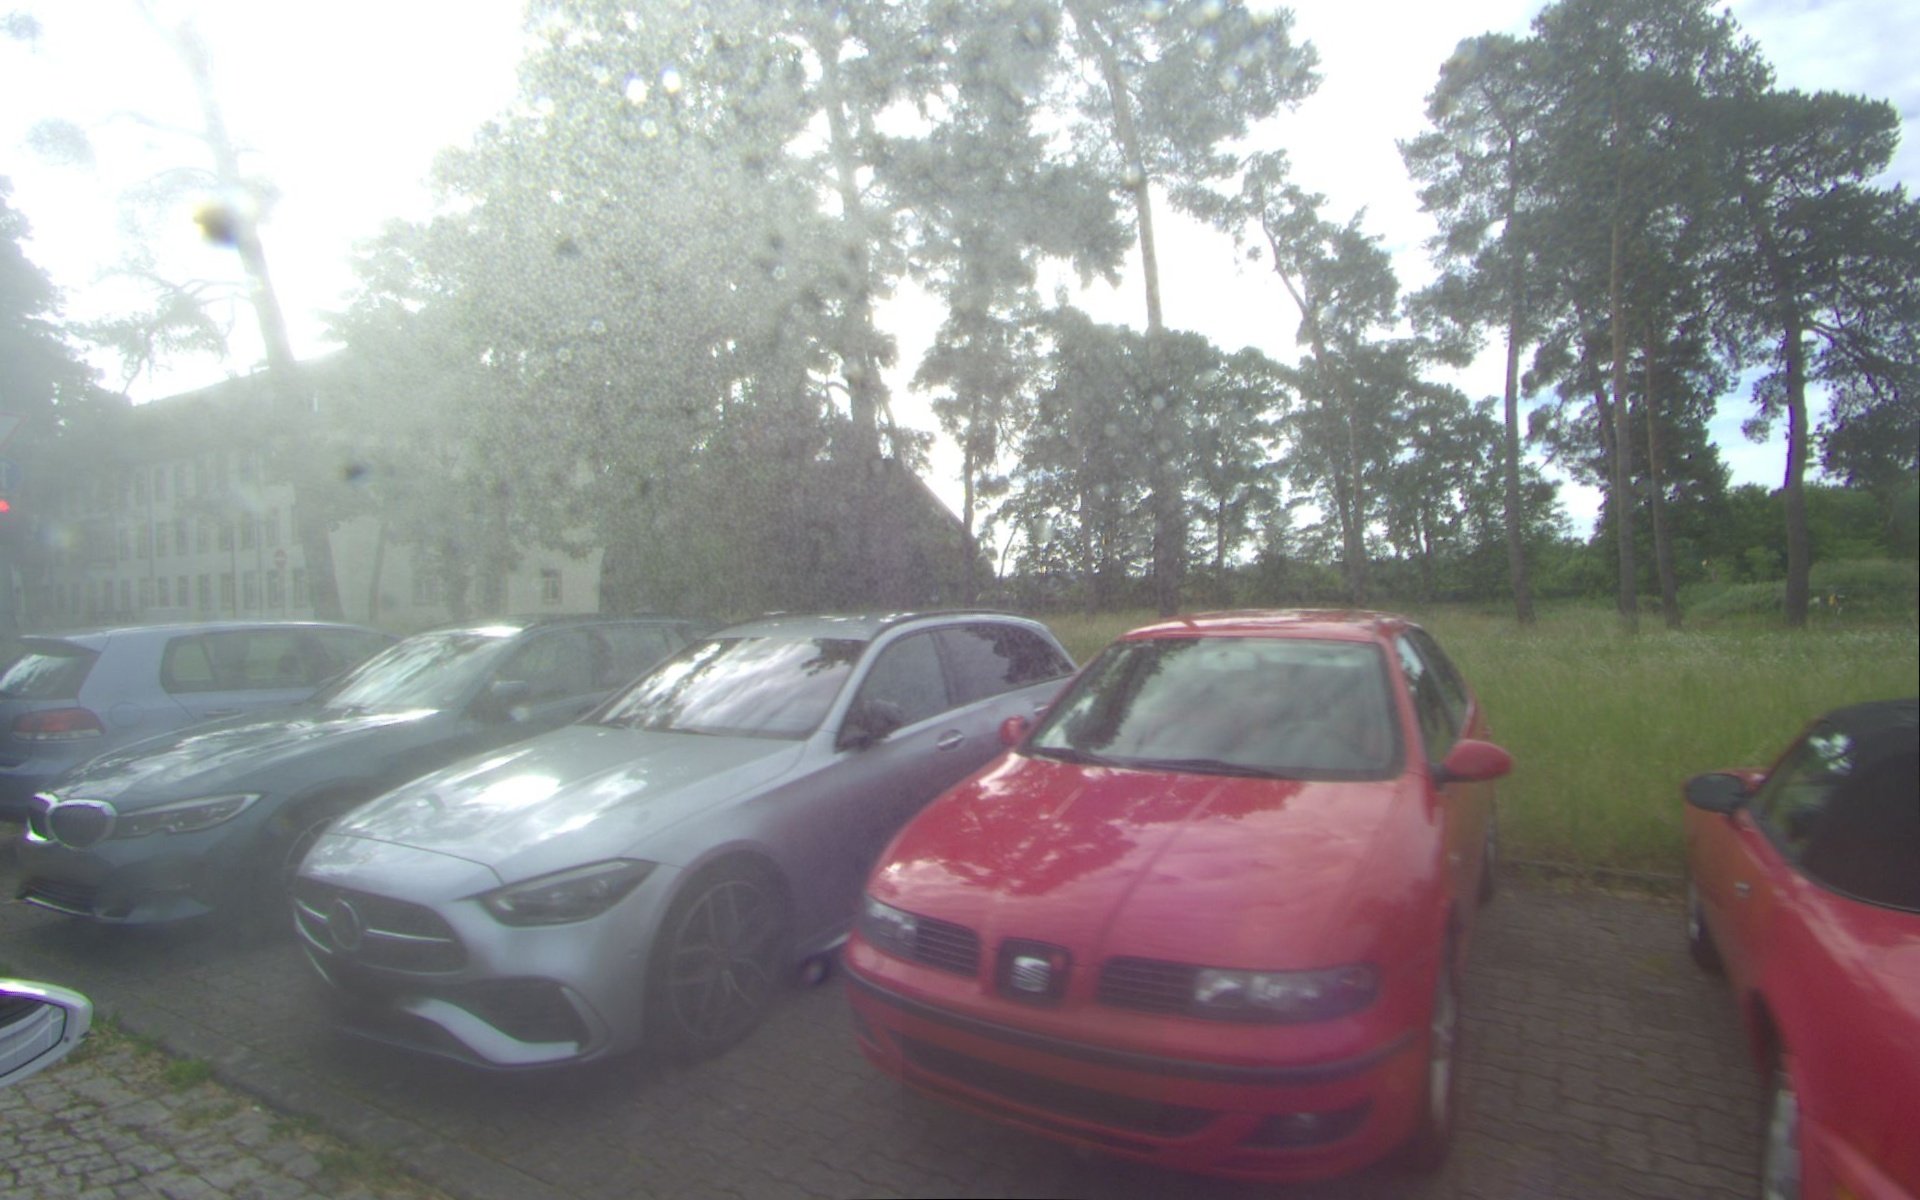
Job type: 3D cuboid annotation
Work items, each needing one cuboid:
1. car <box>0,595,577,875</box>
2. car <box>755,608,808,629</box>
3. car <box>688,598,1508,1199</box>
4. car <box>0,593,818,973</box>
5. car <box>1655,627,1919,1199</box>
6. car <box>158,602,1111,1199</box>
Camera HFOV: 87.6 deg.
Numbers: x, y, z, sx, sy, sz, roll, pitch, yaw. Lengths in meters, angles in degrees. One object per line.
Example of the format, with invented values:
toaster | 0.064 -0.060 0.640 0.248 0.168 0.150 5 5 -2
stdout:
car | -5.198 0.782 7.792 1.619 1.497 3.916 -1 2 33
car | -13.370 1.434 75.147 1.627 1.439 3.940 -1 -3 34
car | 1.133 0.790 4.156 1.844 1.436 4.252 -1 2 31
car | -3.104 0.750 6.586 1.842 1.436 4.673 -1 2 29
car | 3.001 0.803 2.514 1.732 1.253 3.855 -1 2 30
car | -0.890 0.816 4.965 1.842 1.436 4.415 -1 2 28
